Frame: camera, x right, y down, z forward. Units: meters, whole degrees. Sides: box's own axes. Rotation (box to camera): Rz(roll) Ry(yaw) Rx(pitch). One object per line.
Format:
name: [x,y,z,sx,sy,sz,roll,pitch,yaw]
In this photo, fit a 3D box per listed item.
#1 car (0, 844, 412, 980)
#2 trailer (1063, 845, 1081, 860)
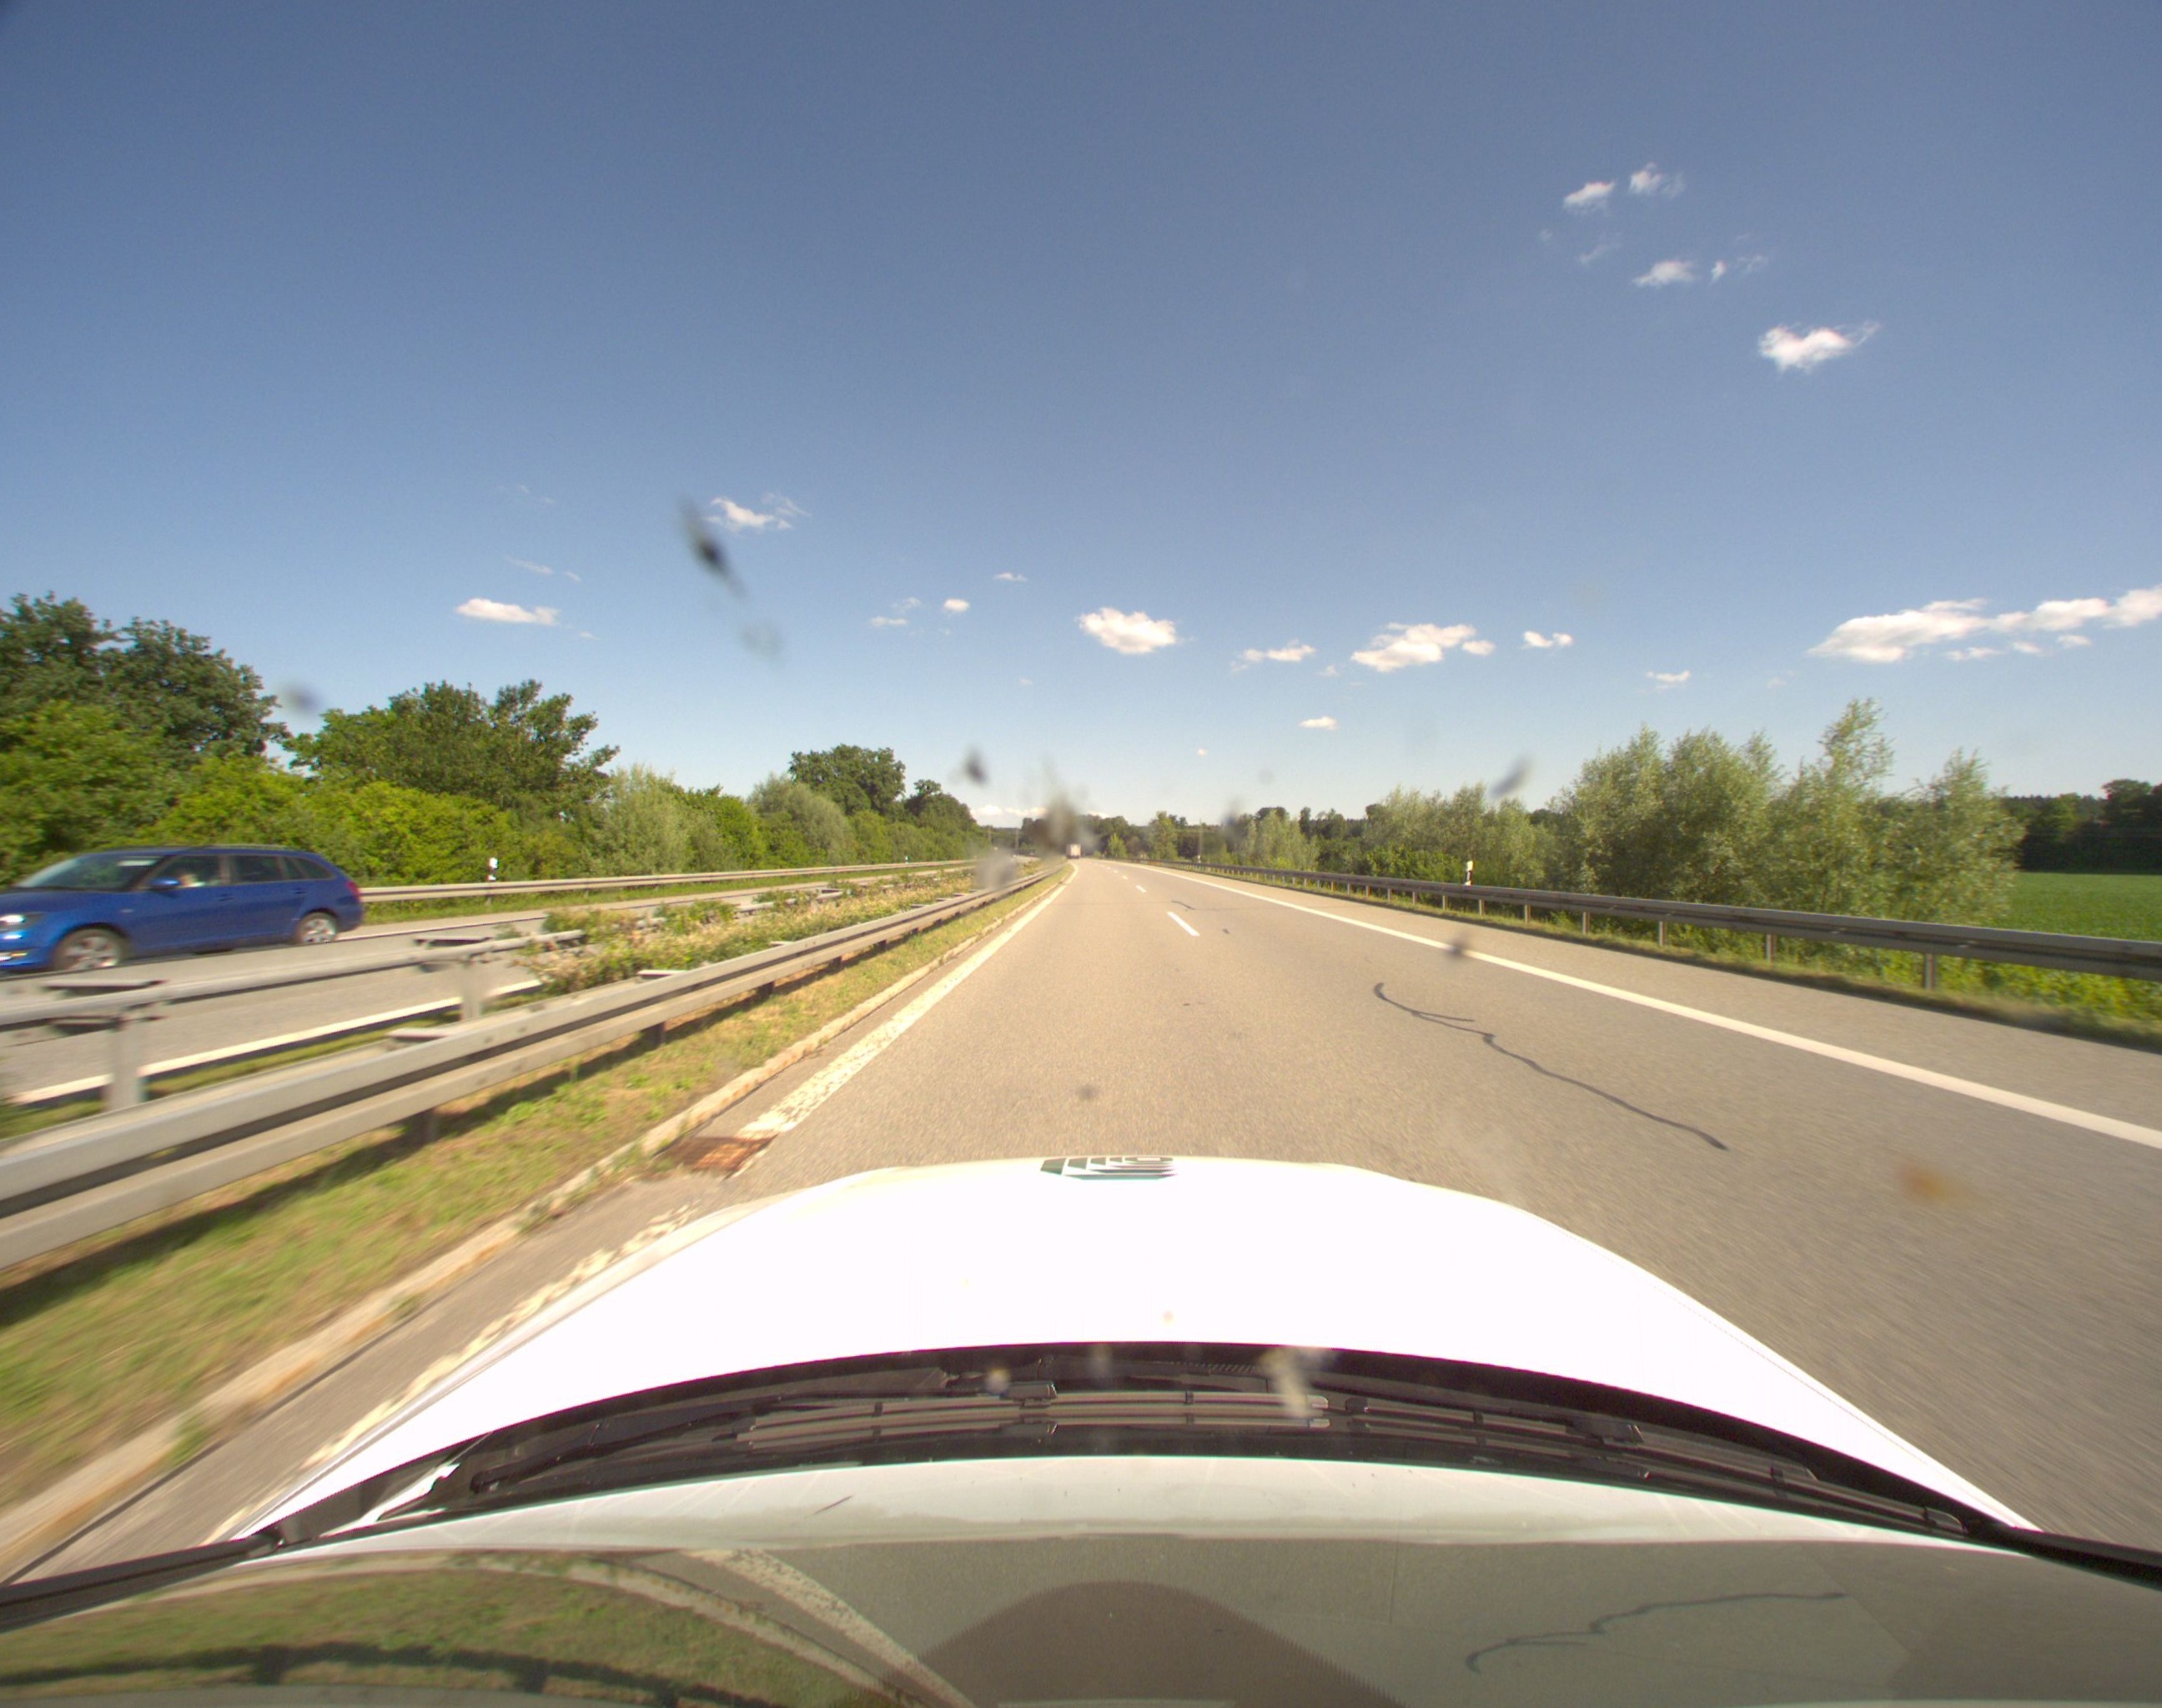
car: [-11.423,0.640,10.838,1.670,1.441,4.000,-1,0,1]
trailer: [-2.570,-0.447,222.570,2.884,4.066,12.377,-1,0,-10]
